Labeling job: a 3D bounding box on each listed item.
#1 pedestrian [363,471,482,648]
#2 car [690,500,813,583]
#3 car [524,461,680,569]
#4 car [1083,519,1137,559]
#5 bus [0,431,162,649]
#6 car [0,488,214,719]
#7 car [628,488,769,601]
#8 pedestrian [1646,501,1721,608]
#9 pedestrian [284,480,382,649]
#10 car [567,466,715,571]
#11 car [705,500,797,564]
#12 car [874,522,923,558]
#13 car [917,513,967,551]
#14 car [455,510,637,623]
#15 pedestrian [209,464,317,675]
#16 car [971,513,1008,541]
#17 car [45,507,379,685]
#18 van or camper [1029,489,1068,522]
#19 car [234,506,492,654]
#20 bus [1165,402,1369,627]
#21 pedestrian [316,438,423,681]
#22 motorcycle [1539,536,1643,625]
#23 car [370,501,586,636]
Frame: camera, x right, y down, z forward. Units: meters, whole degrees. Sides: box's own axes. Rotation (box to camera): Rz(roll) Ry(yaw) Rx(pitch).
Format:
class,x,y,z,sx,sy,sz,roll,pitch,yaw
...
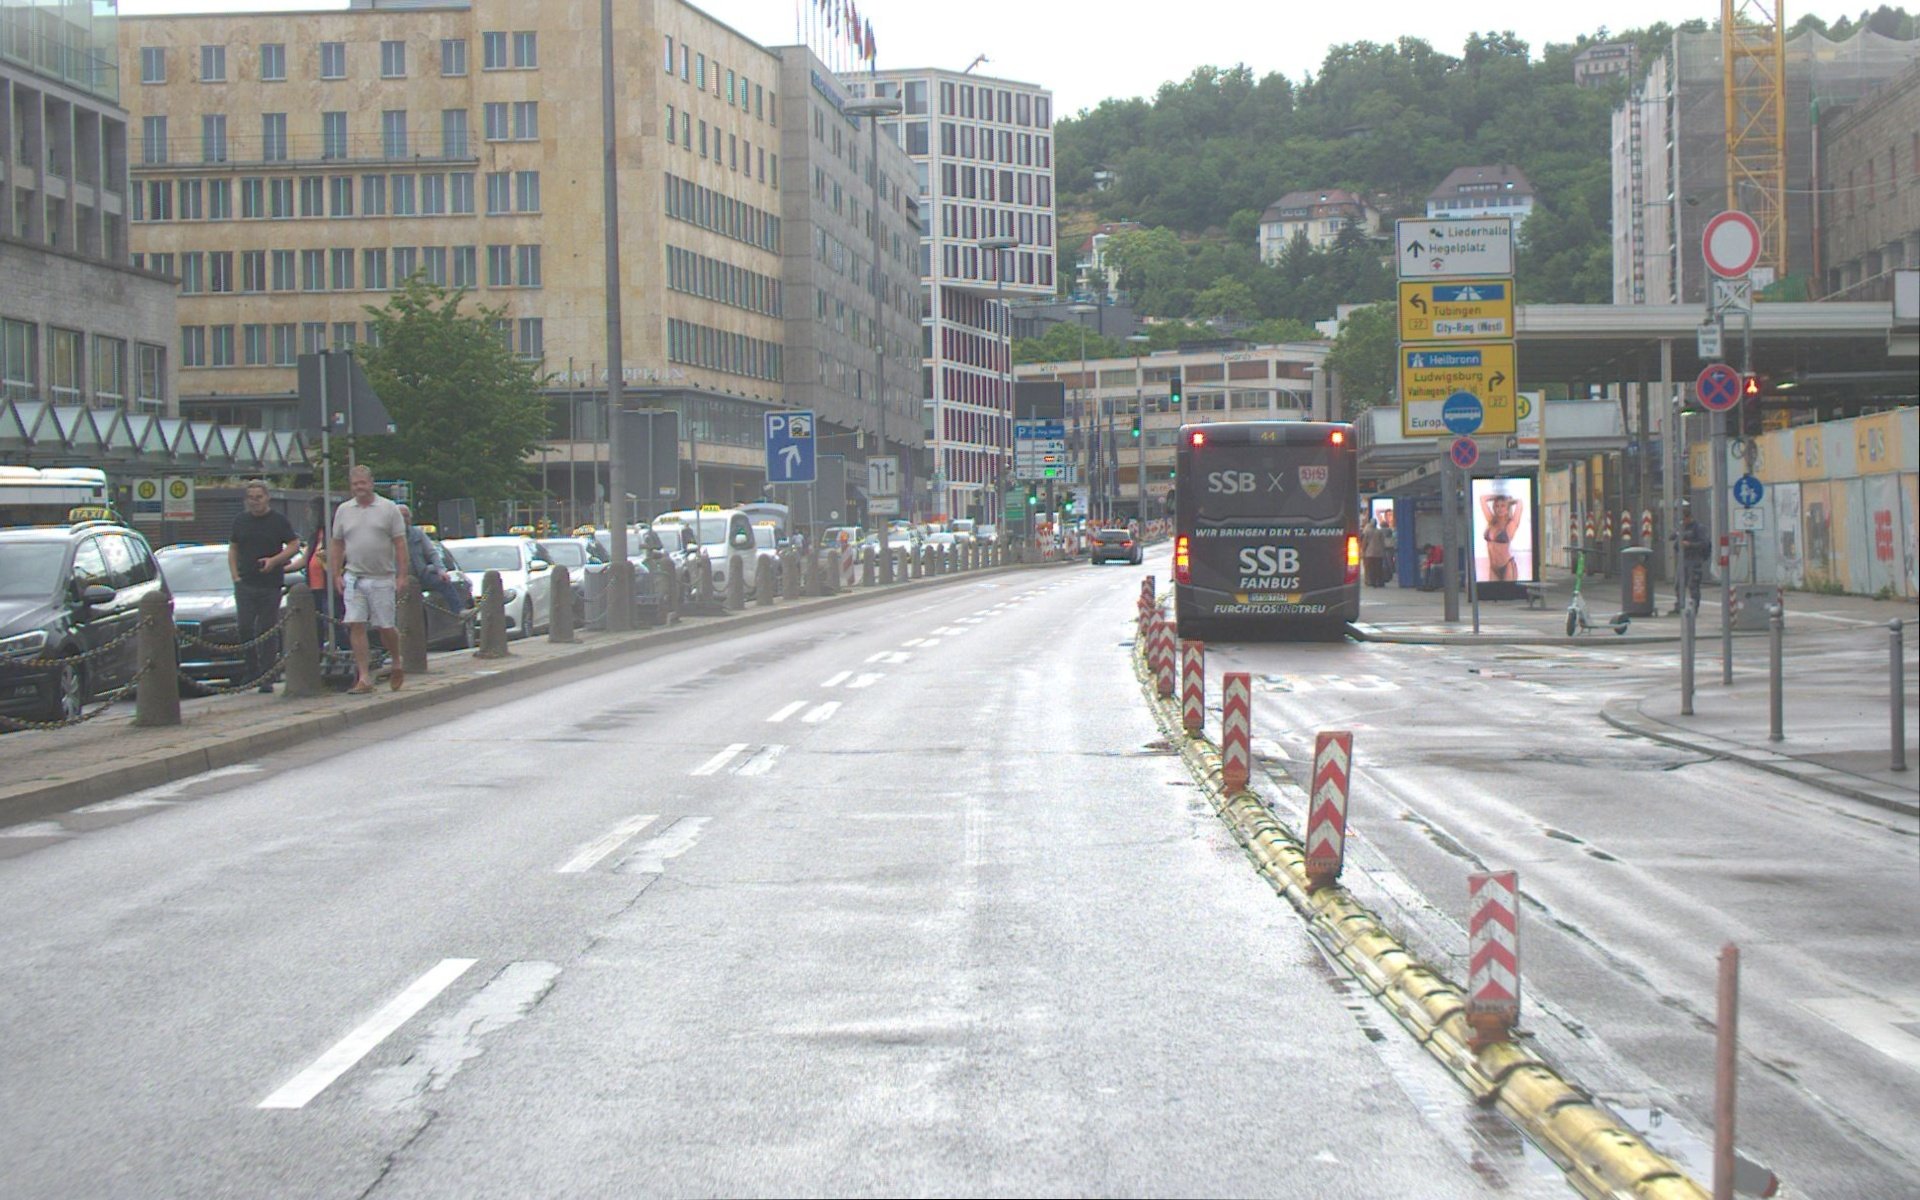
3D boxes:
class,x,y,z,sx,sy,sz,roll,pitch,yaw
pedestrian,-5.448,-0.414,34.882,1.050,1.762,0.616,-1,1,3
car,-4.571,-1.325,76.074,1.994,1.716,4.781,-1,2,5
car,-6.104,-1.457,59.169,1.930,1.693,4.885,-2,1,2
car,6.136,-2.508,140.595,1.994,1.546,4.000,-1,1,5
bus,-16.423,-1.029,57.793,2.877,3.447,10.574,-1,2,4
car,-7.606,0.010,27.640,1.930,1.684,4.682,-2,1,3
car,-5.264,-1.166,69.875,1.994,2.171,5.544,-1,2,4
pedestrian,11.227,-0.709,53.308,0.908,1.629,0.827,0,2,31
pedestrian,-6.064,-0.354,33.291,0.723,1.601,0.996,0,2,3
car,-5.908,-1.516,64.186,1.930,1.800,4.582,-2,1,4
car,-5.333,-1.741,88.061,1.993,1.546,4.000,-1,1,1
car,-3.005,-2.951,168.737,1.962,1.559,4.835,-3,2,4
car,-0.825,-3.194,160.790,1.962,1.559,4.835,-3,2,4
car,-6.309,-0.547,52.930,1.930,1.571,5.052,-2,1,2
pedestrian,-5.874,-0.263,28.995,0.698,1.748,0.711,-1,2,3
car,1.825,-4.504,211.842,1.962,1.559,4.835,-3,2,4
car,-7.384,-0.095,34.507,1.930,1.571,5.261,-2,1,3
van or camper,5.715,-6.047,220.289,1.994,2.007,5.188,-1,1,7
car,-6.997,-0.277,40.828,1.930,1.571,5.012,-2,1,2
bus,4.475,-1.266,51.355,2.755,3.058,9.079,0,1,4
pedestrian,-4.920,-0.346,28.681,0.723,2.001,0.772,0,2,3
motorcycle,8.370,-0.269,45.575,0.586,1.162,1.613,1,2,42
car,-6.527,-0.465,47.144,1.976,1.653,5.192,-2,1,2
